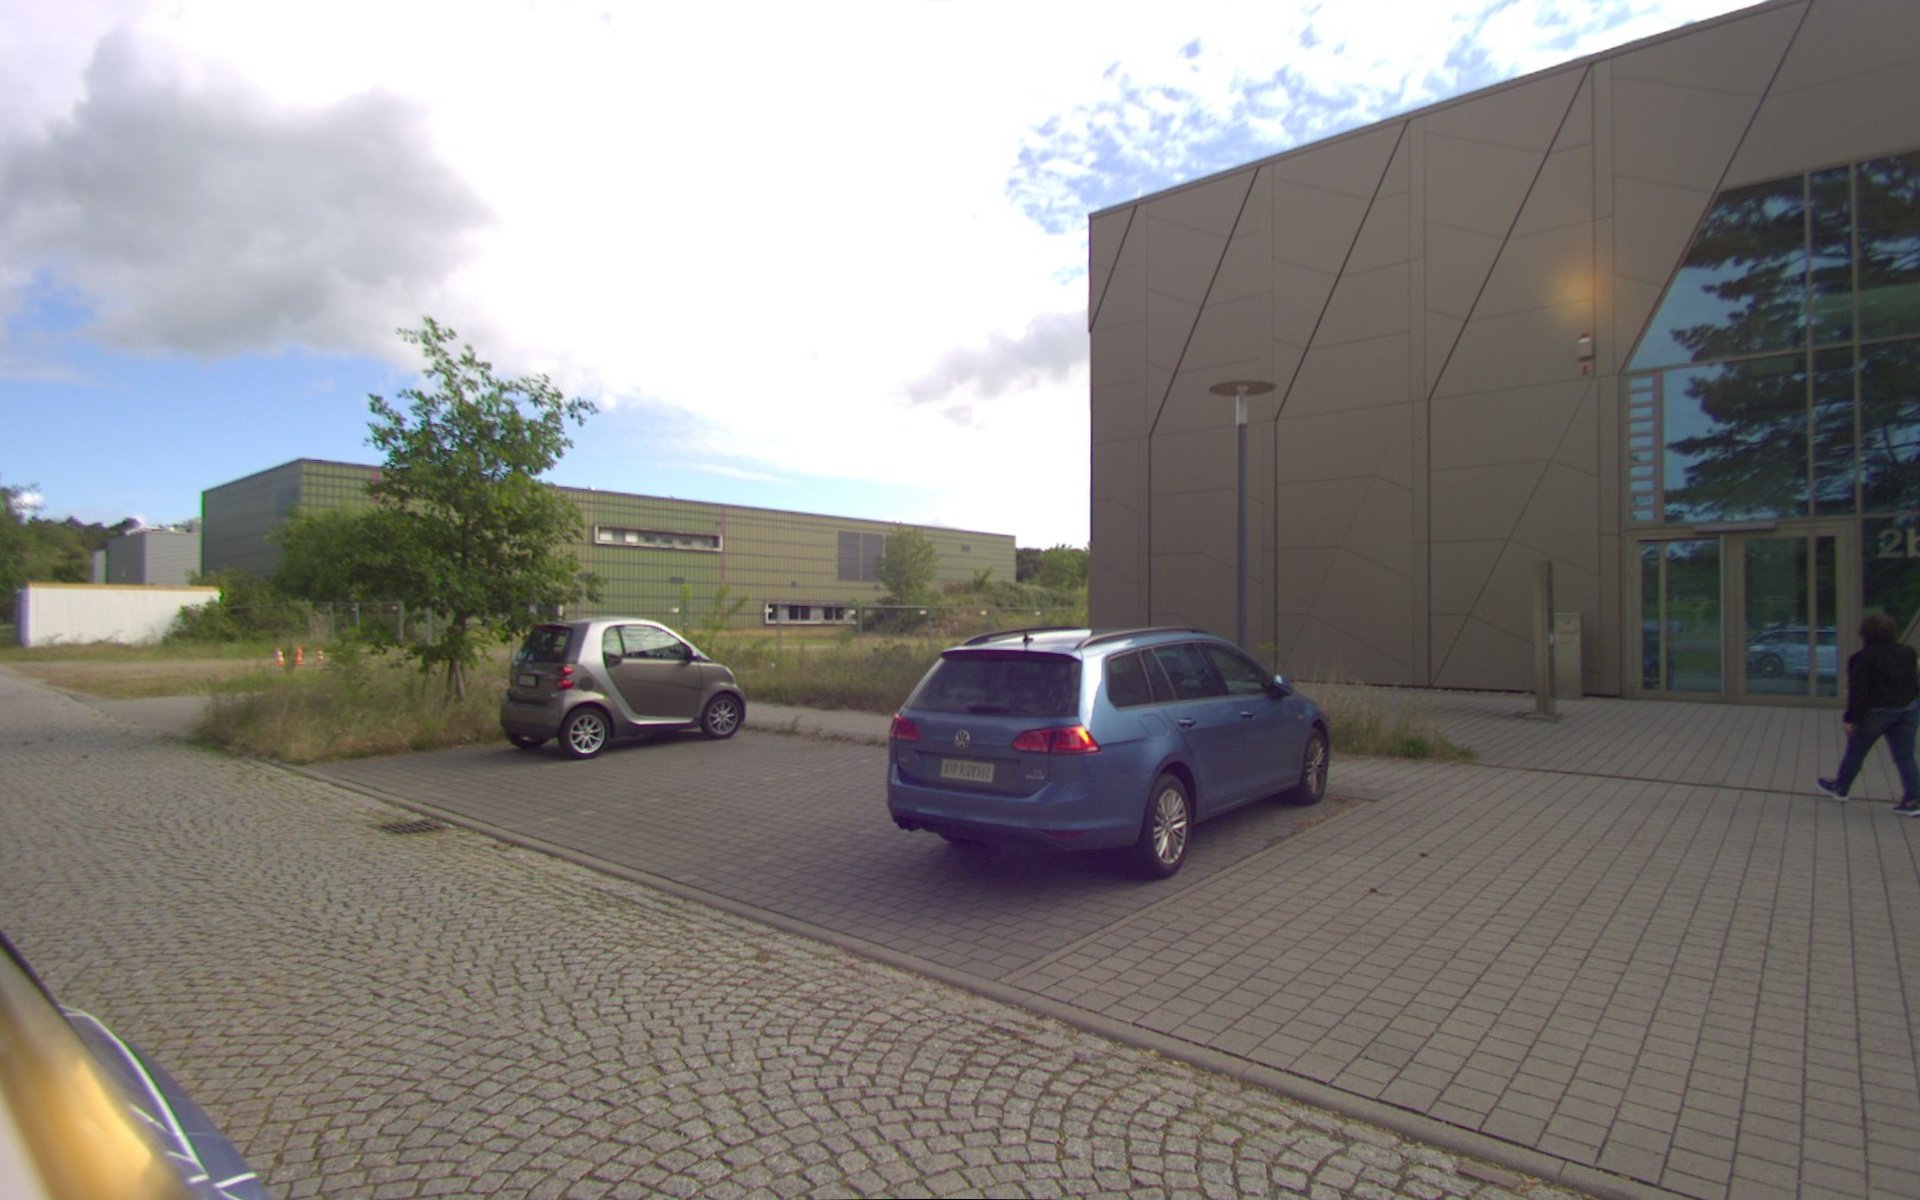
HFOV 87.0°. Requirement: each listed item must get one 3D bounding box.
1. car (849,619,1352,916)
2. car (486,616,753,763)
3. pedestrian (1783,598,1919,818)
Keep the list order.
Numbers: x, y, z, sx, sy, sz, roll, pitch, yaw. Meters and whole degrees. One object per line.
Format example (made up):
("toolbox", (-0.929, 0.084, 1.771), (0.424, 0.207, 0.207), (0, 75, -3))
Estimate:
("car", (1.310, 0.904, 7.422), (1.771, 1.439, 4.264), (-1, -1, 38))
("car", (-4.077, 0.981, 12.294), (1.609, 1.523, 2.627), (-1, -1, 40))
("pedestrian", (6.924, 0.752, 7.490), (0.806, 1.506, 0.988), (0, -1, -7))
